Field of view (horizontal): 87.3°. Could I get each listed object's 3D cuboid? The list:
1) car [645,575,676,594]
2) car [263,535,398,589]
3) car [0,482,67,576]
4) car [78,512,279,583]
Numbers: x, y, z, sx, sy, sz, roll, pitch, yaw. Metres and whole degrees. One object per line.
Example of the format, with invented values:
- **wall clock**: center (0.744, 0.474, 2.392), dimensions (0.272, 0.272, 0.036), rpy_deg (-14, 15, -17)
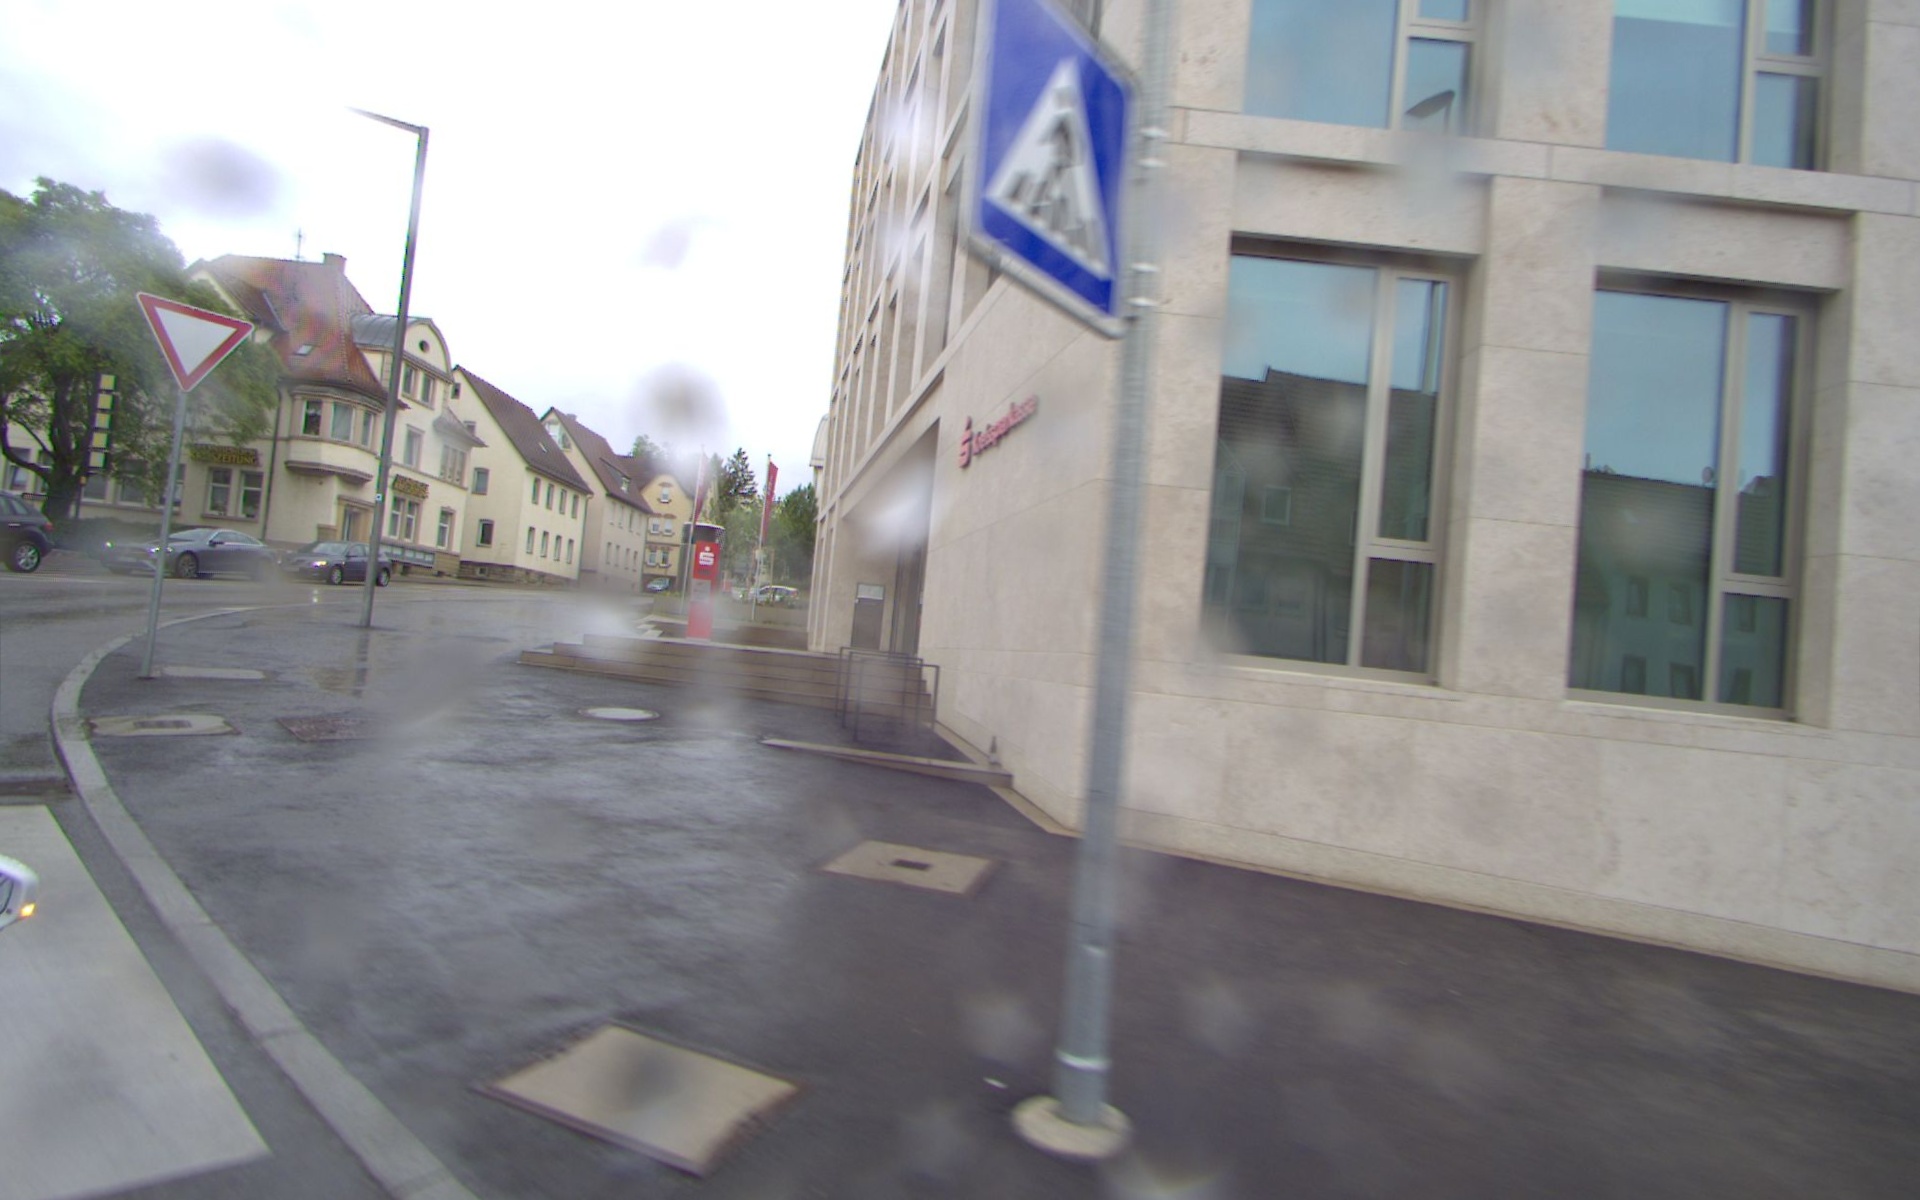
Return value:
- **car**: center (-27.113, -1.376, 91.223), dimensions (1.664, 1.471, 3.232), rpy_deg (7, 0, 1)
- **car**: center (-20.593, -1.196, 33.143), dimensions (1.745, 1.470, 4.186), rpy_deg (4, -1, 0)
- **car**: center (-20.263, -1.535, 19.624), dimensions (1.745, 1.838, 4.316), rpy_deg (4, -1, 0)
- **car**: center (-20.544, -1.313, 26.726), dimensions (1.745, 1.470, 4.539), rpy_deg (4, -1, 0)
